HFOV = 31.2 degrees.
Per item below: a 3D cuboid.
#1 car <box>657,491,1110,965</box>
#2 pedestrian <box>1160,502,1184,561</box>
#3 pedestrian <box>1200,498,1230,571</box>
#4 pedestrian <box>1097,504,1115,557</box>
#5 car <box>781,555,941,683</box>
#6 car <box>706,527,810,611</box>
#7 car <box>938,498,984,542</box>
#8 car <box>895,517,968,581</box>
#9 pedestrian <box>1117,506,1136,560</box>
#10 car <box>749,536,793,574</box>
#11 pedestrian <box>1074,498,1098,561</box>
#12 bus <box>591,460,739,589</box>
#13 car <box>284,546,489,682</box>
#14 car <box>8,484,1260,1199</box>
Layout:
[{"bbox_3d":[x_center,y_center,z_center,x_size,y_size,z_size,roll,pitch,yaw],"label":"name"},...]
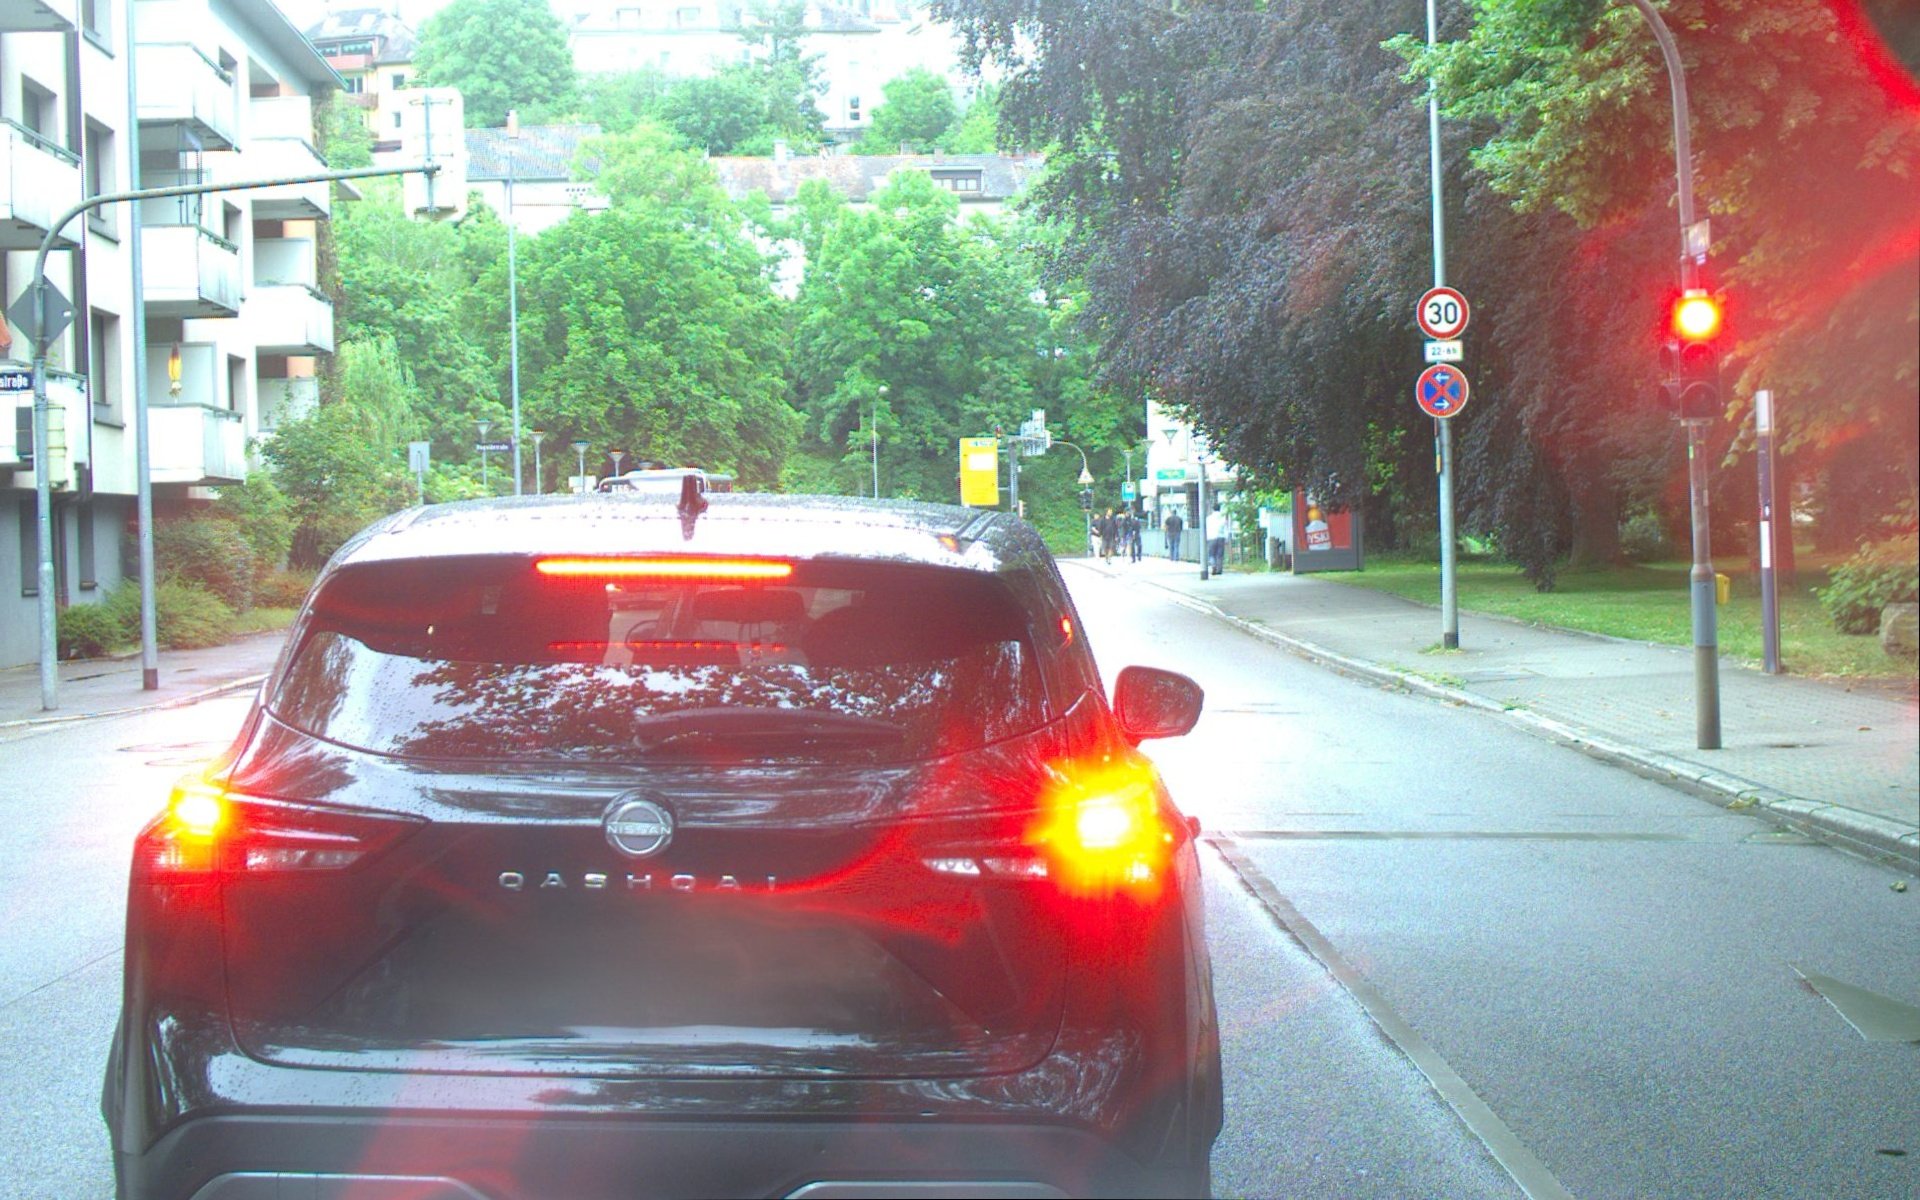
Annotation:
[{"bbox_3d":[-0.250,0.438,14.671,1.622,1.703,3.771,-2,1,1],"label":"car"},{"bbox_3d":[6.435,-2.074,104.388,0.618,1.773,0.551,-2,1,-1],"label":"pedestrian"},{"bbox_3d":[6.310,-1.619,85.080,0.618,1.773,0.778,-2,1,-1],"label":"pedestrian"},{"bbox_3d":[4.568,-2.177,107.572,0.544,1.645,0.490,1,0,0],"label":"pedestrian"},{"bbox_3d":[-1.189,0.190,41.180,1.808,1.412,4.031,0,1,-2],"label":"car"},{"bbox_3d":[-3.638,-0.577,62.294,1.624,1.410,3.455,-2,1,0],"label":"car"},{"bbox_3d":[0.026,-3.178,136.428,1.750,1.628,3.635,-2,1,0],"label":"car"},{"bbox_3d":[-0.649,-1.204,80.454,1.624,1.410,3.455,-2,1,0],"label":"car"},{"bbox_3d":[5.143,-2.066,106.212,0.514,1.650,0.550,1,0,-1],"label":"pedestrian"},{"bbox_3d":[-7.892,-1.881,143.711,1.676,1.464,4.217,-3,1,-2],"label":"car"},{"bbox_3d":[4.336,-2.420,118.332,0.768,2.176,0.711,1,0,3],"label":"pedestrian"},{"bbox_3d":[-7.319,-1.872,86.755,2.766,2.964,11.782,-2,1,-1],"label":"bus"},{"bbox_3d":[-6.768,0.124,40.960,1.808,1.412,4.031,-3,1,-2],"label":"car"},{"bbox_3d":[-0.500,0.616,7.002,1.806,1.584,4.000,1,1,-1],"label":"car"}]
